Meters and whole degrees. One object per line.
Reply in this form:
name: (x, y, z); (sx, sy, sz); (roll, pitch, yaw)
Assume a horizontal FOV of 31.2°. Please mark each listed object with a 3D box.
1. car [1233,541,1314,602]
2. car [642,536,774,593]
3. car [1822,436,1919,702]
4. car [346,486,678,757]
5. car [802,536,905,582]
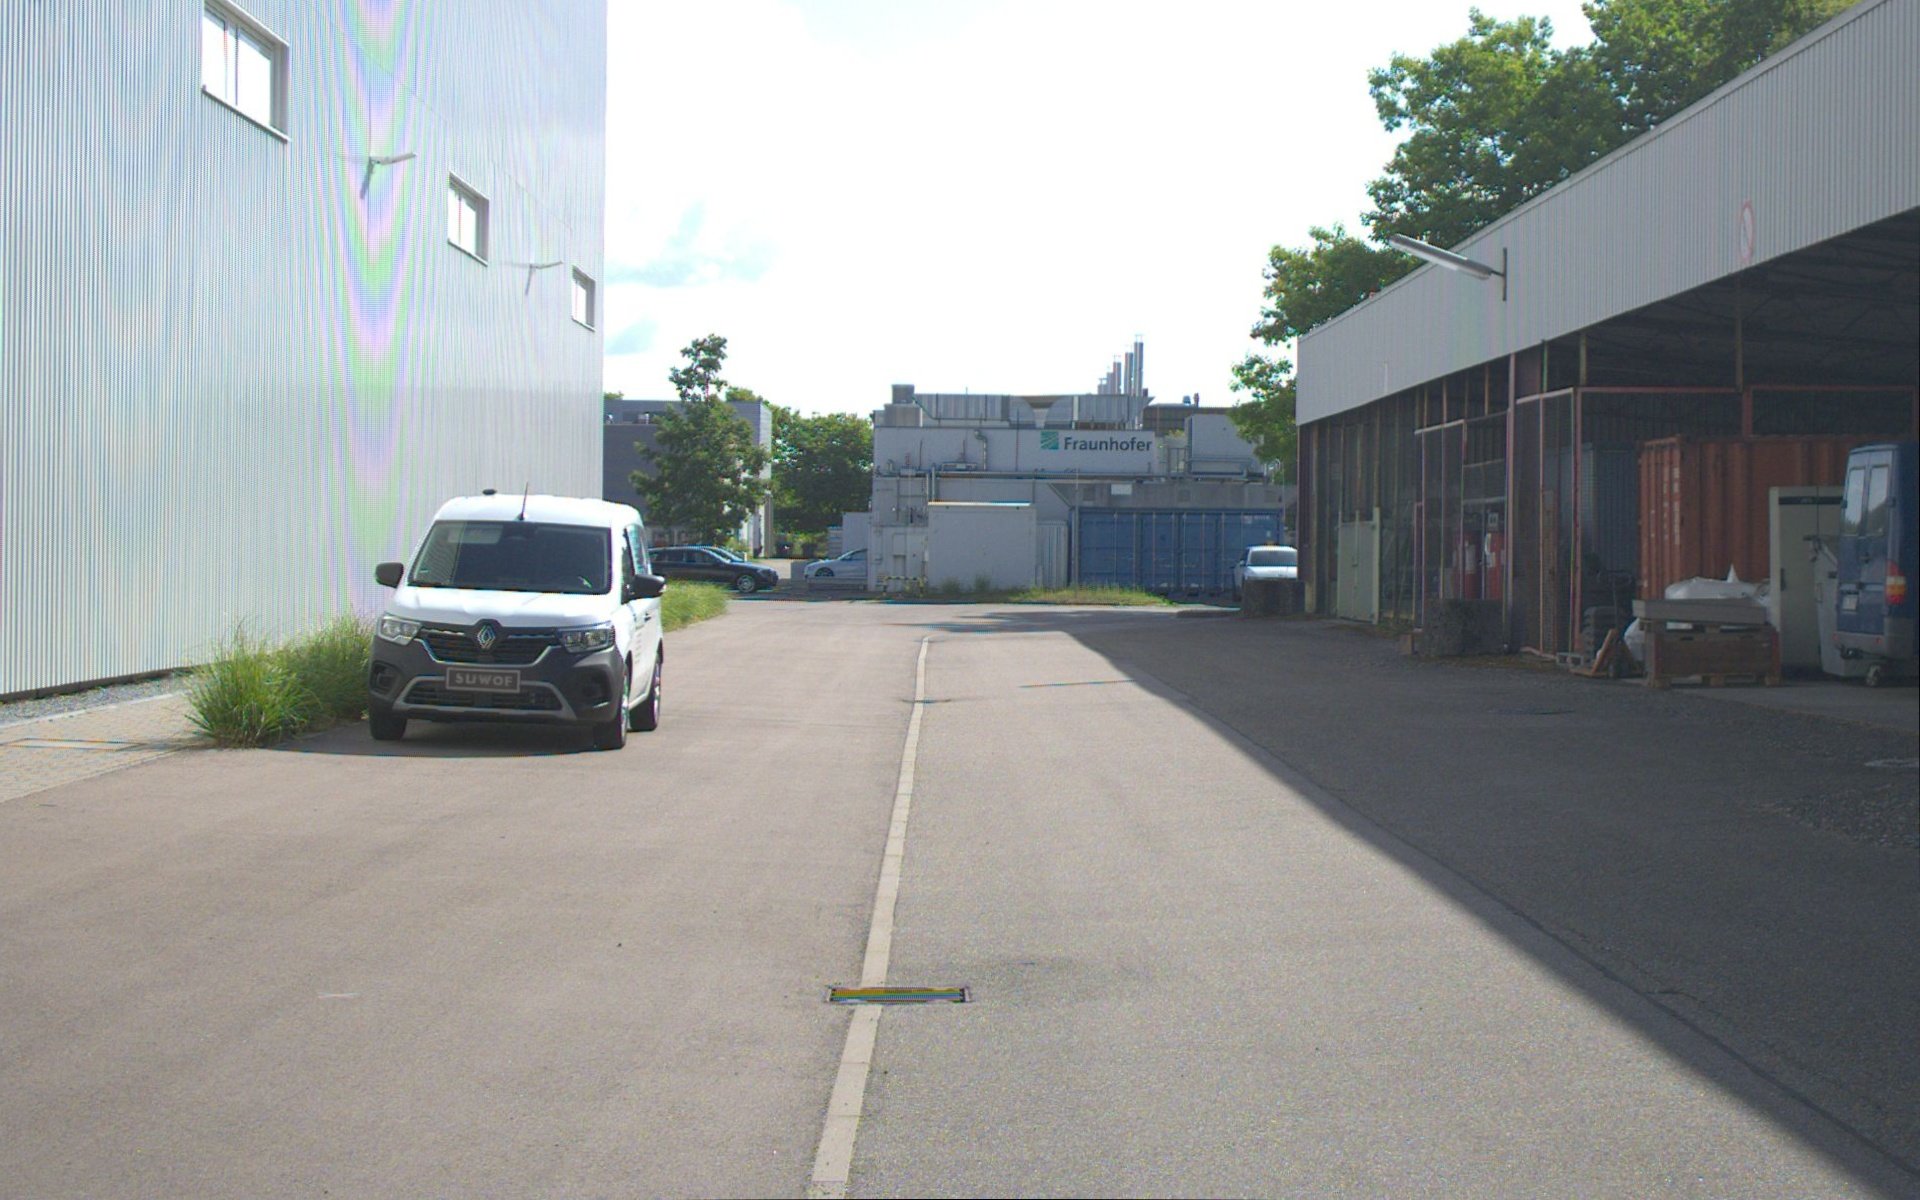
car: (8.666, -0.807, 95.313); (1.962, 1.559, 4.059); (2, 1, 2)
car: (-7.891, -1.112, 107.796); (3.987, 1.592, 1.742); (2, -1, -1)
car: (10.214, -0.186, 30.831); (4.433, 2.302, 1.915); (2, -1, 1)
car: (-3.223, 0.096, 25.563); (1.818, 1.781, 4.405); (2, 1, 0)
car: (-4.185, -1.609, 135.660); (3.987, 1.592, 1.848); (2, -1, -1)
